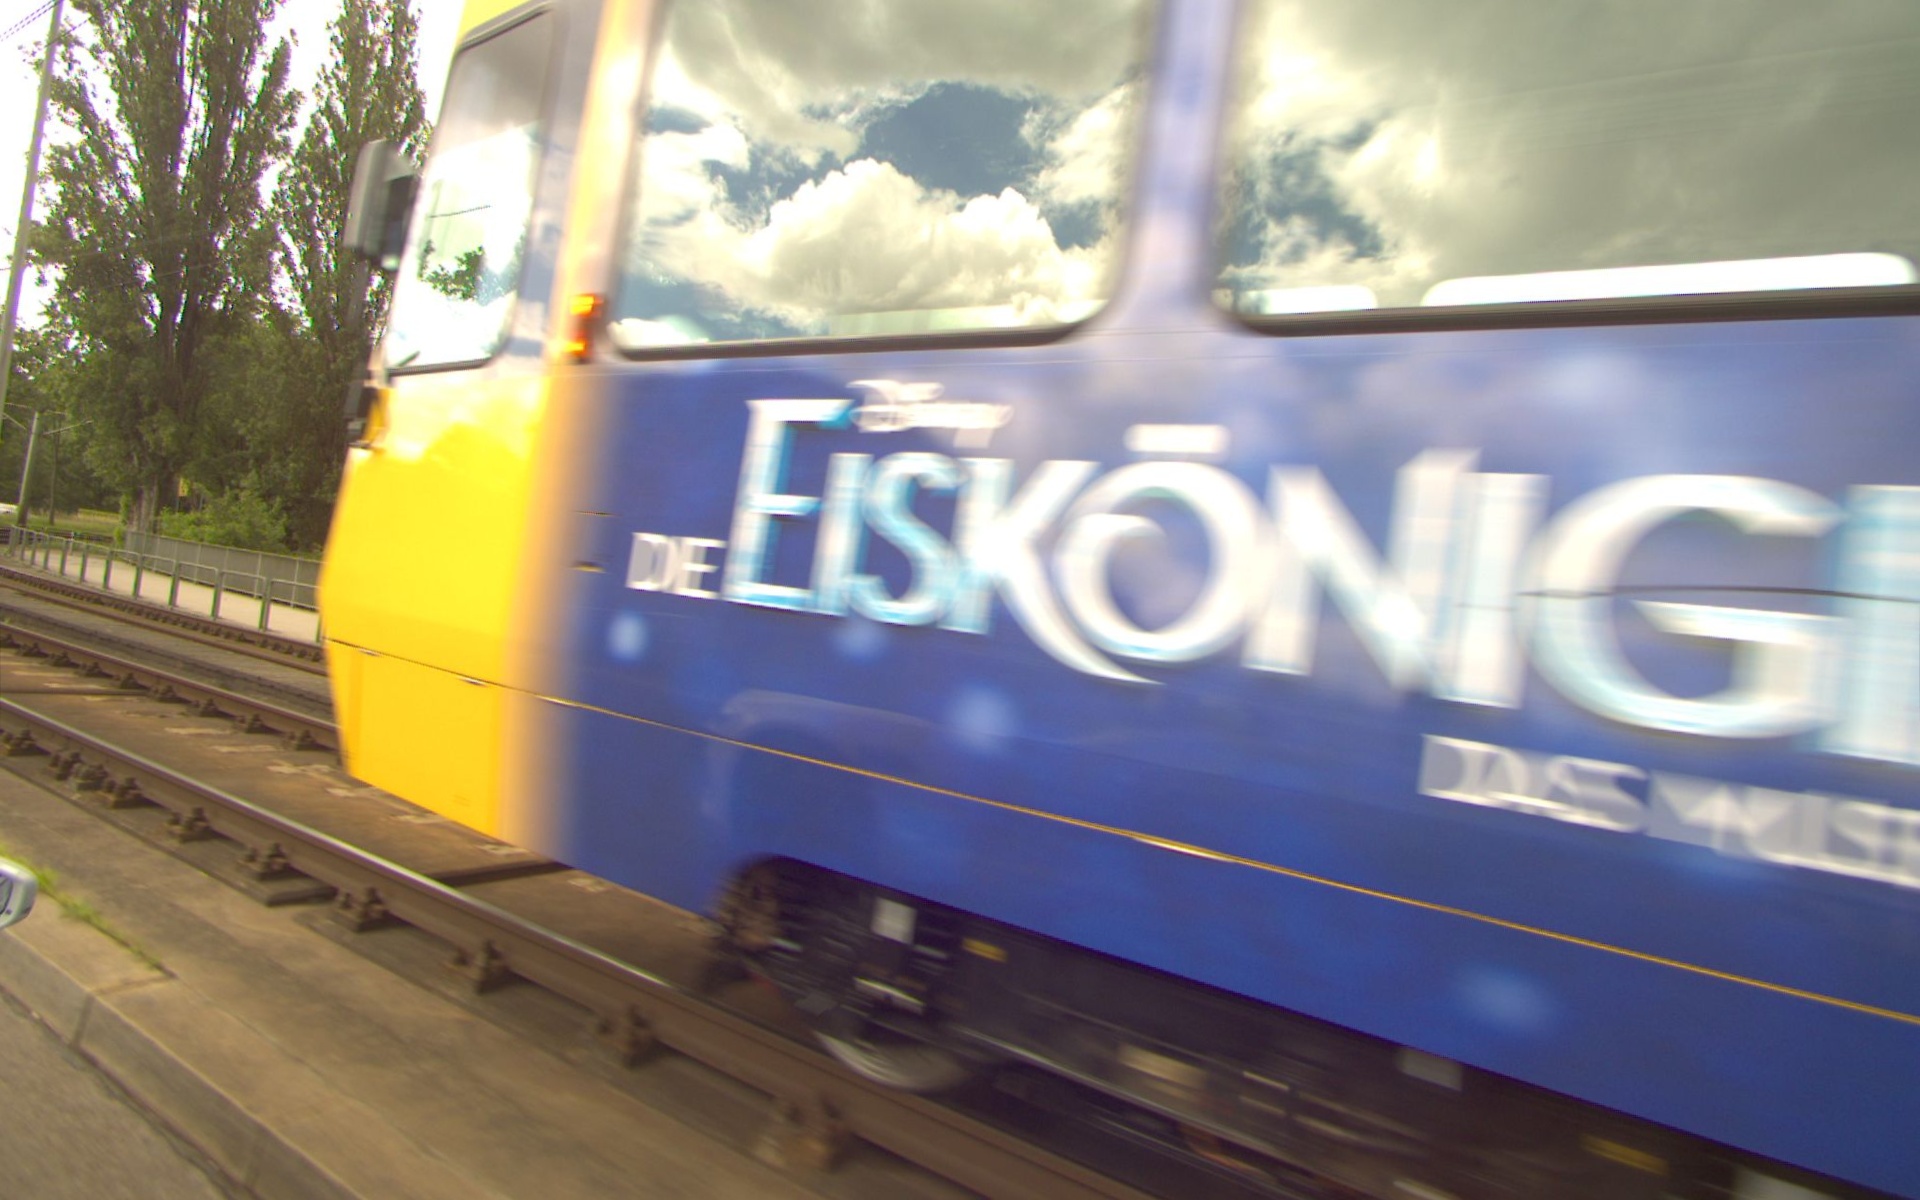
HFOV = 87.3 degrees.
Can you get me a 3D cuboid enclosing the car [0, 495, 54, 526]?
[{"bbox_3d":[-64.208,-6.109,68.597,1.775,1.732,3.976,7,0,-14],"label":"car"}]
